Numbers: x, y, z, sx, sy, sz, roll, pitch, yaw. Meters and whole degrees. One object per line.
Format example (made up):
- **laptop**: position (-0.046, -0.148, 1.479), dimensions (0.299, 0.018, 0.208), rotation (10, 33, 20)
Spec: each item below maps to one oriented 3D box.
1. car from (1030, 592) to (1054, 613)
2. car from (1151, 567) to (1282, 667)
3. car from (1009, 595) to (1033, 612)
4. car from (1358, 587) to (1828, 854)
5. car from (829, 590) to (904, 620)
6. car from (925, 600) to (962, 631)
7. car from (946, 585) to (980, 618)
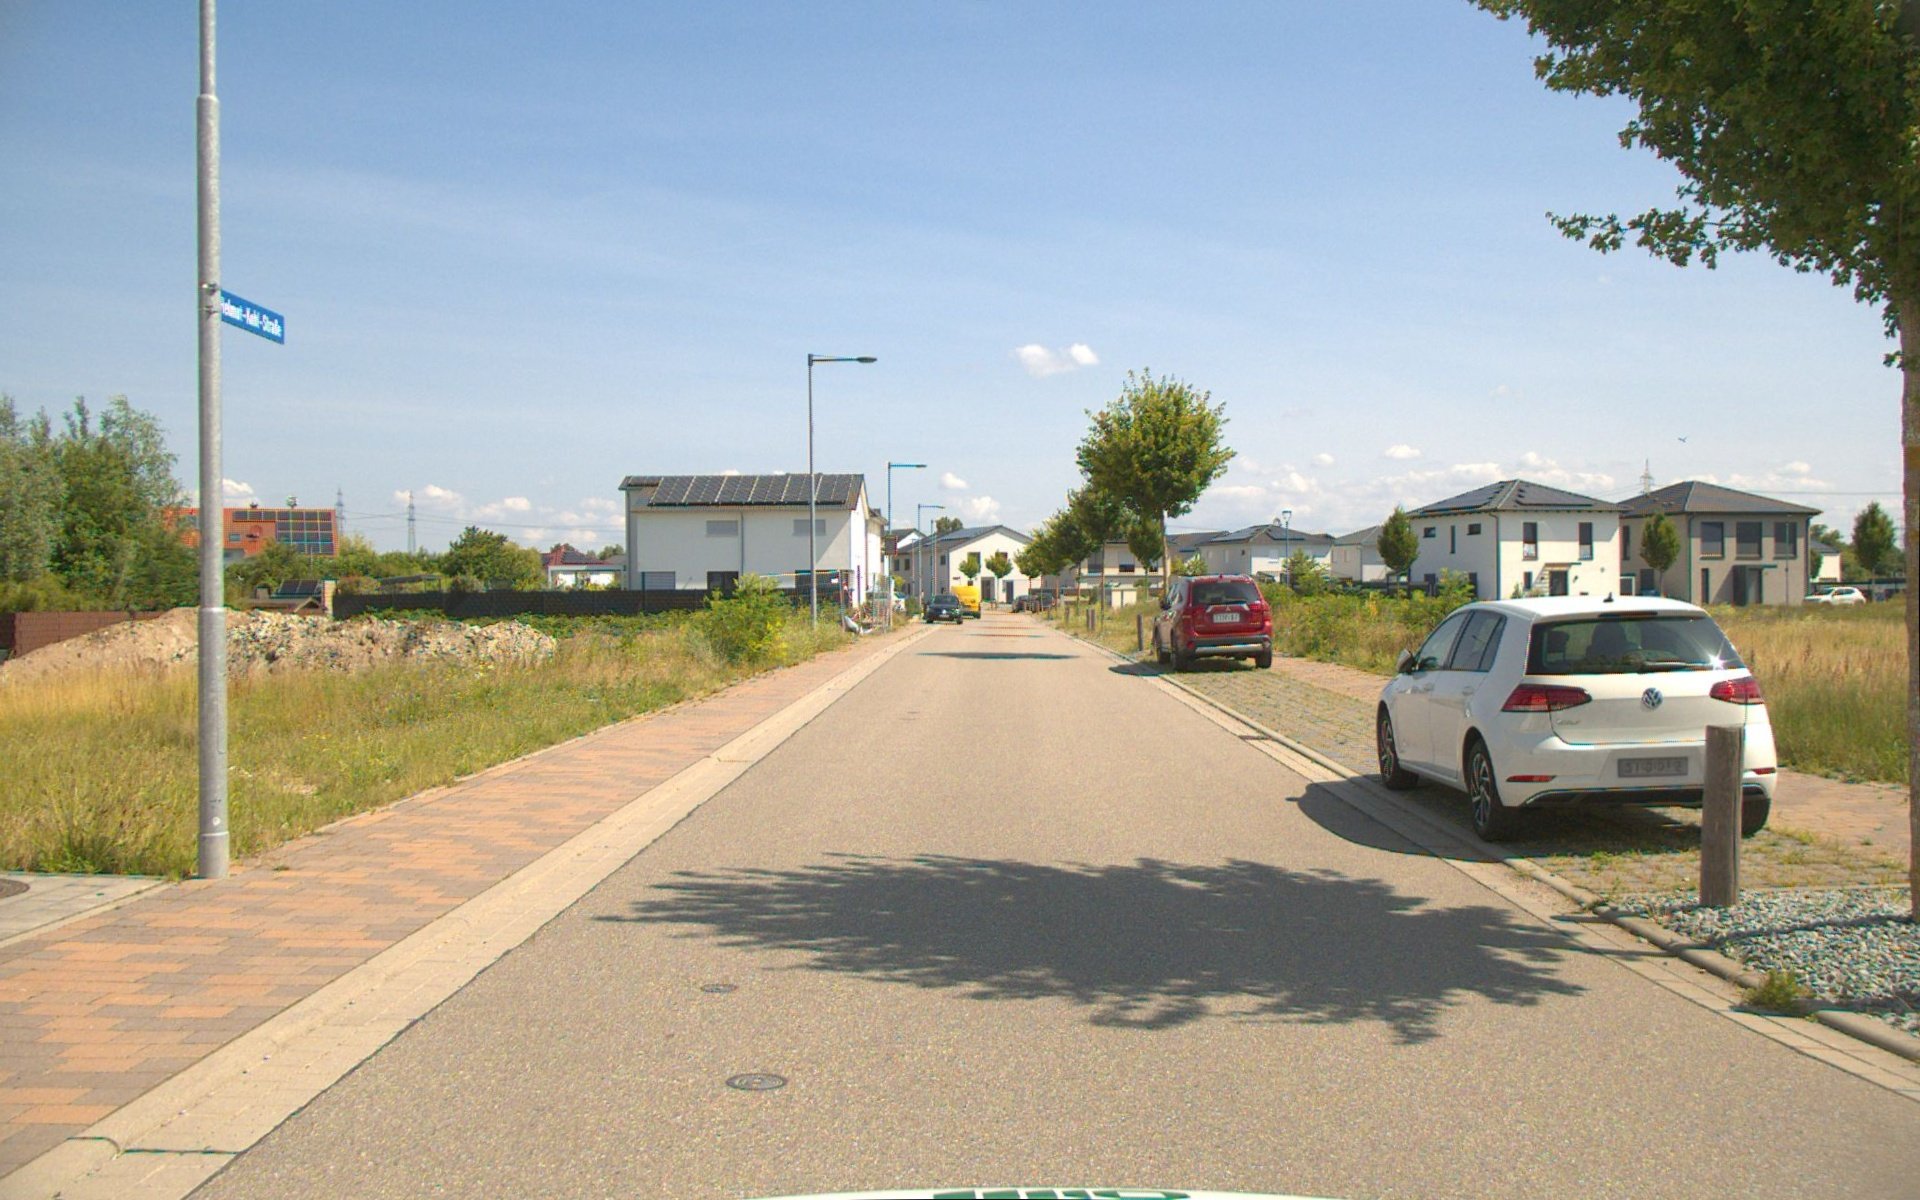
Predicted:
- **car**: position (6.076, 0.196, 123.310), dimensions (1.605, 1.427, 3.810), rotation (-1, -1, 0)
- **car**: position (4.738, 0.277, 31.126), dimensions (1.740, 1.692, 4.434), rotation (-2, 1, 0)
- **car**: position (5.216, 0.302, 141.940), dimensions (1.596, 1.346, 3.828), rotation (0, -2, -6)
- **car**: position (4.140, 0.677, 11.599), dimensions (1.739, 1.444, 4.166), rotation (-2, 1, 1)
- **car**: position (-5.274, 0.253, 93.755), dimensions (3.982, 1.609, 1.785), rotation (1, 1, 6)
- **car**: position (-0.800, 0.753, 83.235), dimensions (1.709, 1.429, 4.160), rotation (2, 0, 1)
- **car**: position (0.188, 0.101, 103.320), dimensions (1.903, 2.016, 4.214), rotation (-1, -1, -3)
